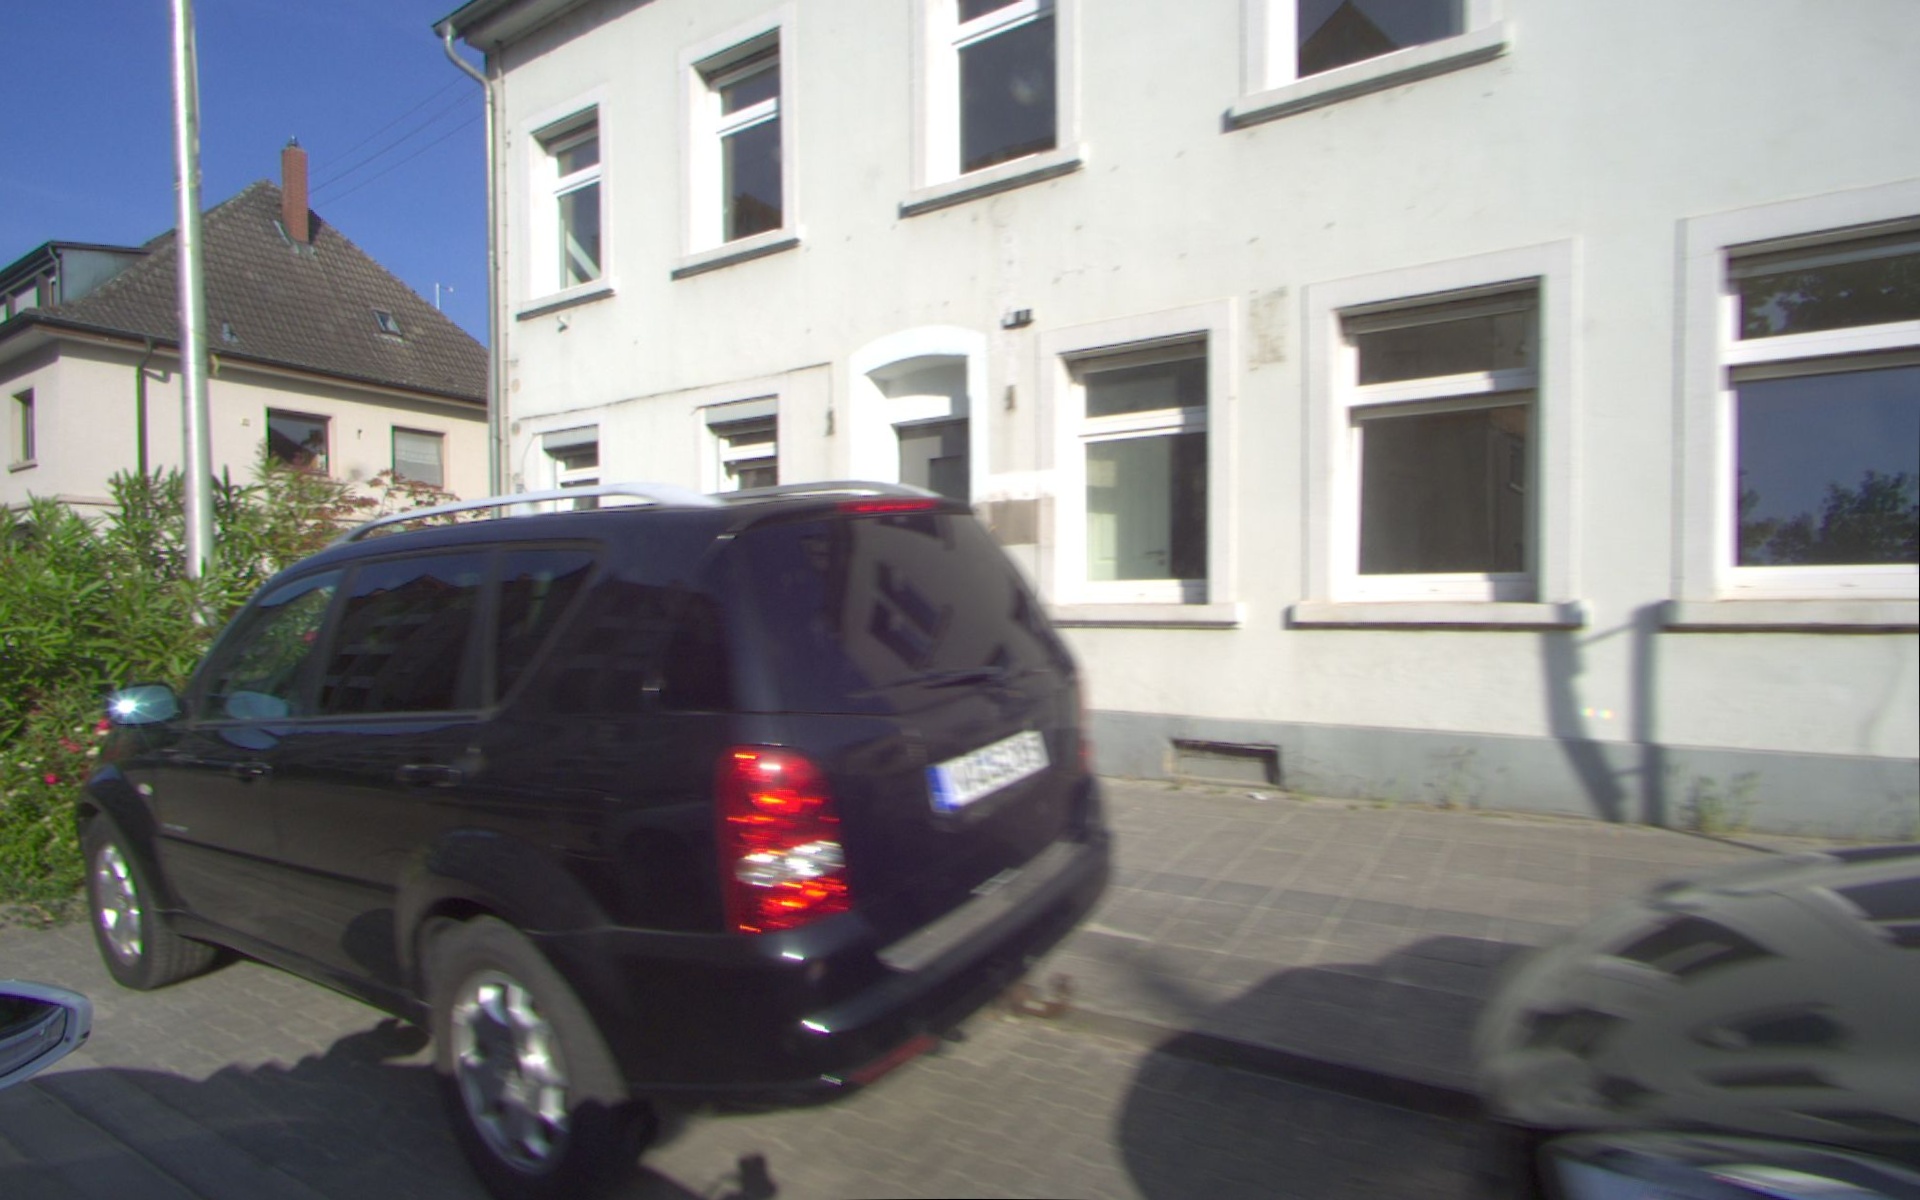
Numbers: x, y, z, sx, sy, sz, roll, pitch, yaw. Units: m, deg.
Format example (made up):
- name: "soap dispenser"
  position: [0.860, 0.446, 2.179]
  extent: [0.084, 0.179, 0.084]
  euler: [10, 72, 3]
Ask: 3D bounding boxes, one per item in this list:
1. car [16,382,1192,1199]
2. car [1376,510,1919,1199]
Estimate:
- name: "car"
  position: [-1.640, 0.544, 3.931]
  extent: [4.547, 1.881, 2.069]
  euler: [0, 2, 35]
- name: "car"
  position: [2.835, 0.639, 0.643]
  extent: [4.548, 1.549, 1.585]
  euler: [-1, 1, 32]
